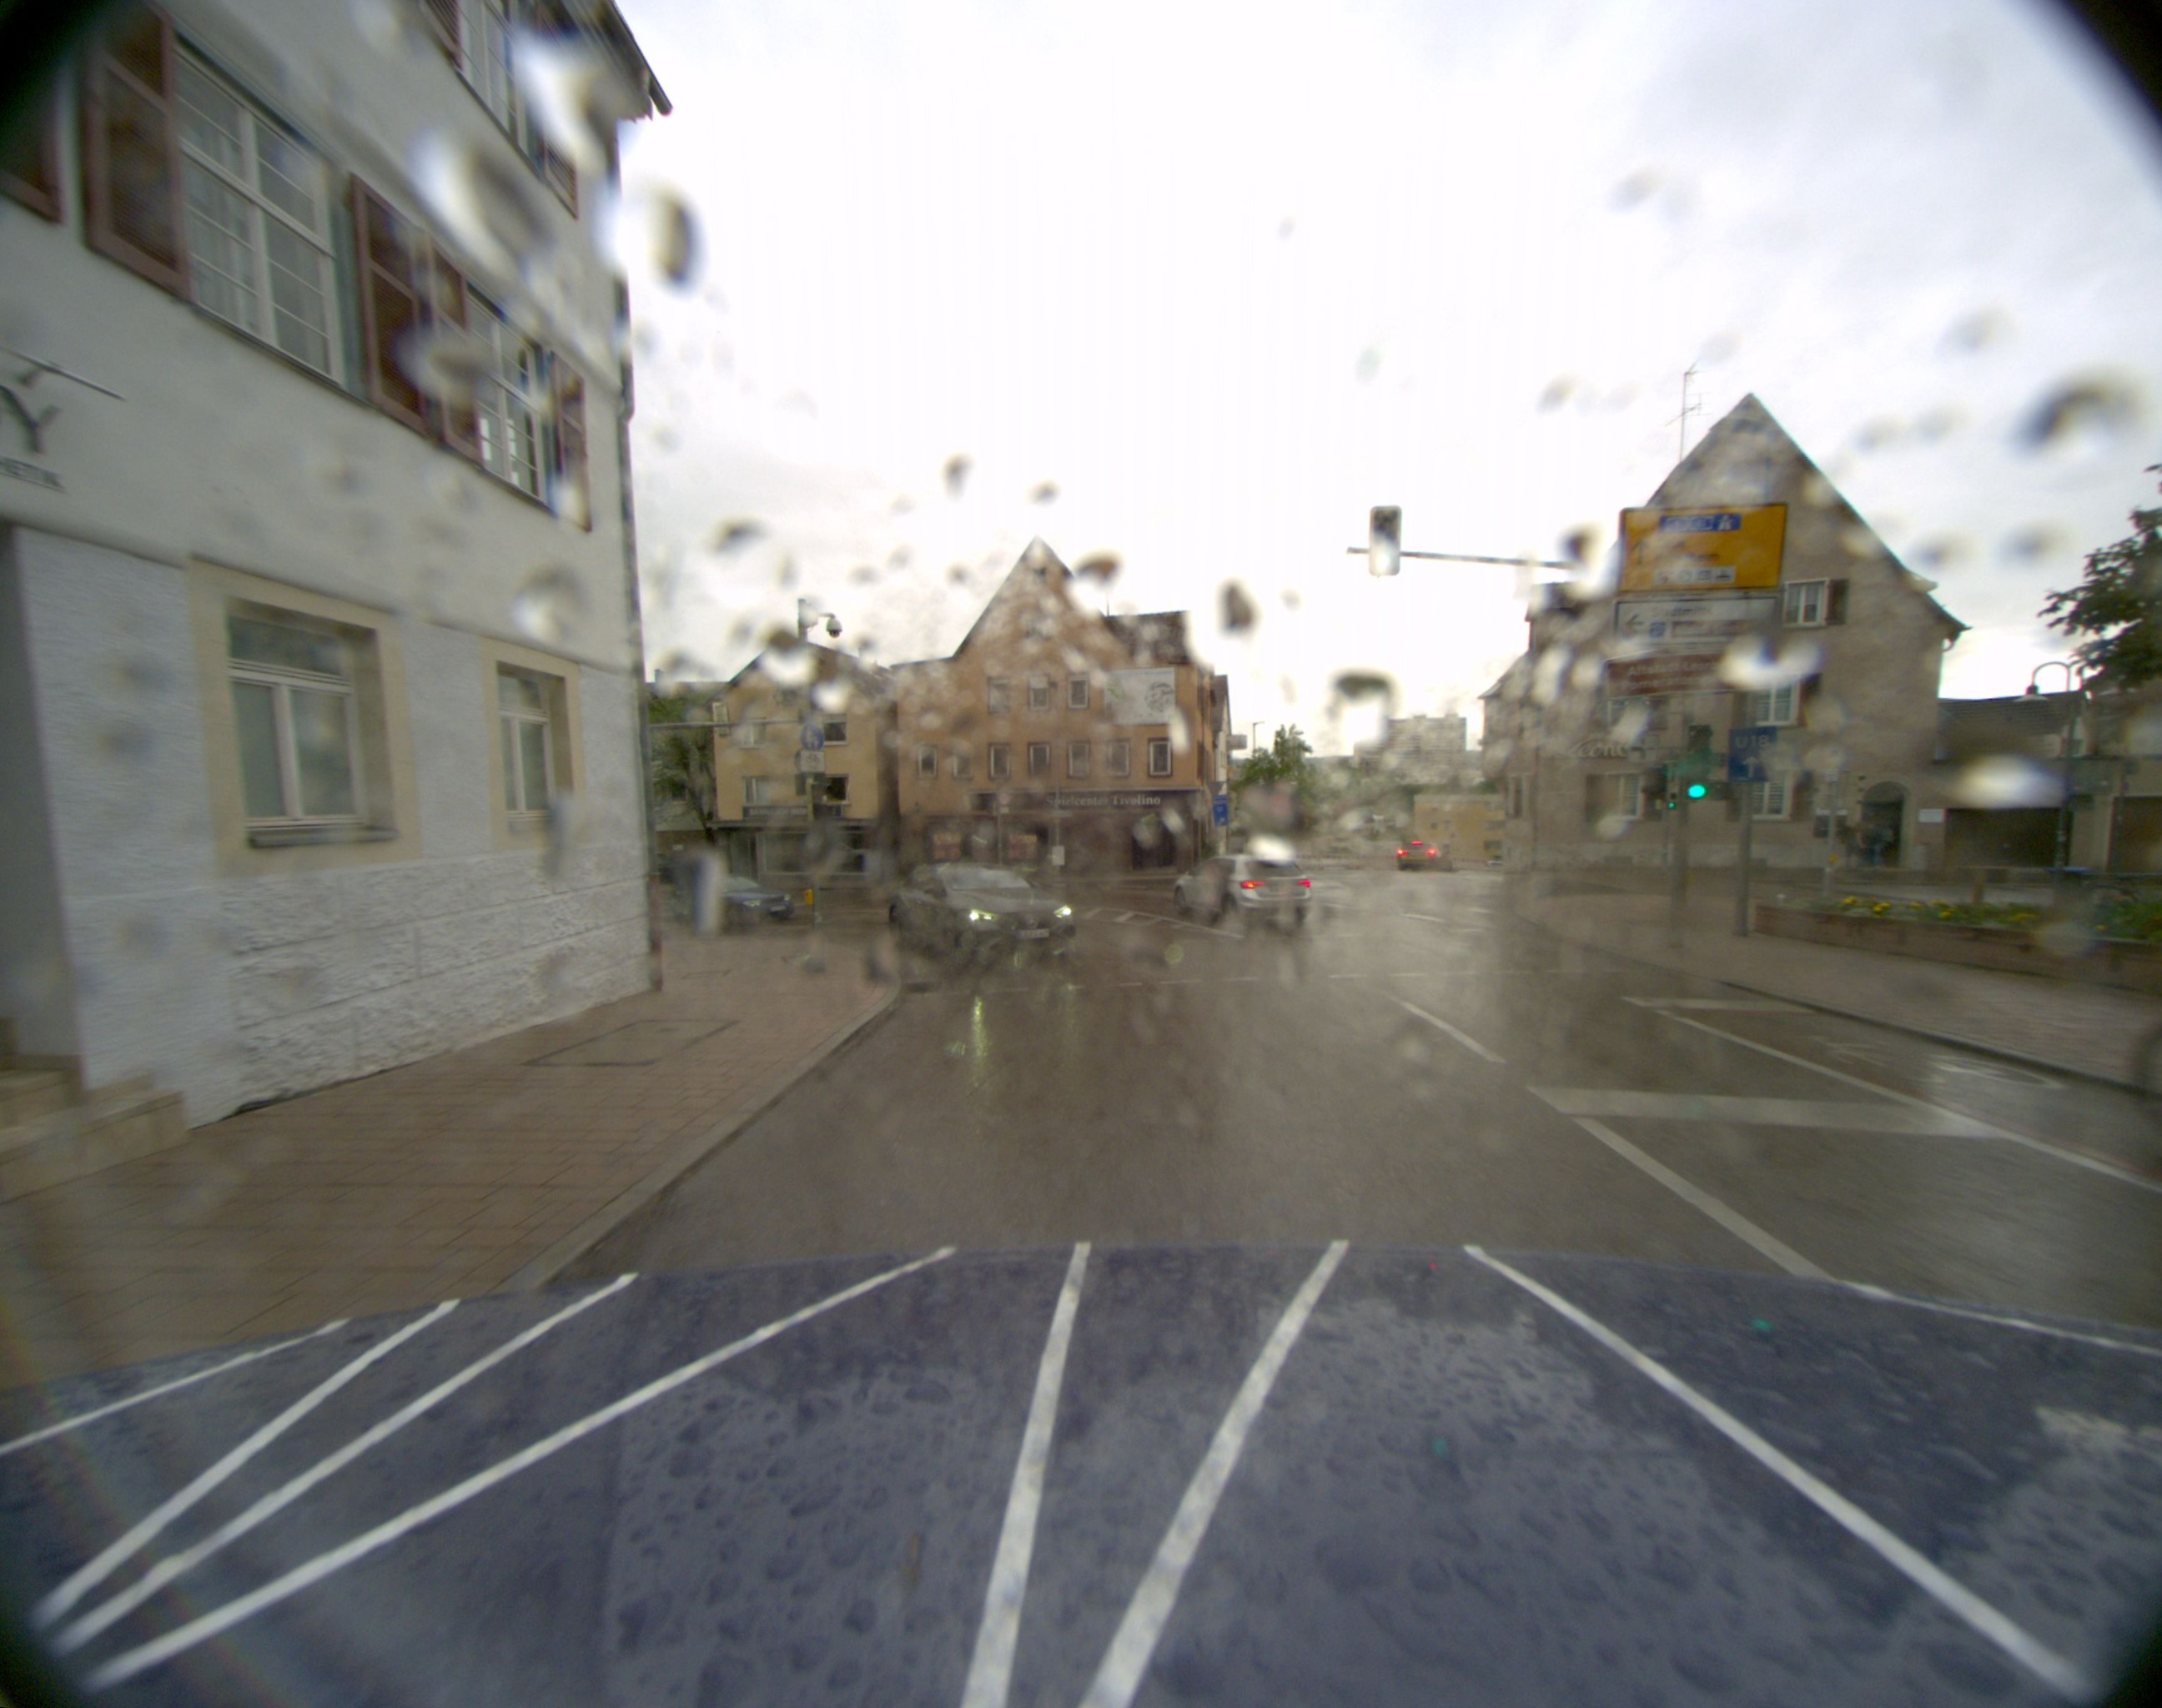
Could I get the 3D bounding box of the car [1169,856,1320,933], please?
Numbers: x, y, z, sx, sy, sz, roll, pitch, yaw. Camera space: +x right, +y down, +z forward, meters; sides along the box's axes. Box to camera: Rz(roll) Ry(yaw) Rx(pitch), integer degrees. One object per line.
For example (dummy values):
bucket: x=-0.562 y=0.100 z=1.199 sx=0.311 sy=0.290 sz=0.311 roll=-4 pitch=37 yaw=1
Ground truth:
car: x=3.468 y=0.797 z=16.872 sx=1.668 sy=1.419 sz=3.865 roll=-2 pitch=1 yaw=-15

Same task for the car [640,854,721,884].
car: x=-22.045 y=0.791 z=42.015 sx=1.897 sy=1.445 sz=4.003 roll=-1 pitch=1 yaw=10

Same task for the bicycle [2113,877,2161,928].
bicycle: x=18.885 y=0.855 z=12.986 sx=0.338 sy=0.814 sz=1.433 roll=-7 pitch=4 yaw=-24

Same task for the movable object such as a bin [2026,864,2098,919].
movable object such as a bin: x=19.407 y=0.741 z=15.051 sx=0.728 sy=0.920 sz=0.785 roll=14 pitch=-6 yaw=-39

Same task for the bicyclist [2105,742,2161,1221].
bicyclist: x=5.055 y=0.539 z=2.842 sx=1.139 sy=2.002 sz=0.880 roll=0 pitch=1 yaw=5

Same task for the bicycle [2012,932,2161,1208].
bicycle: x=5.160 y=1.019 z=2.856 sx=0.749 sy=1.156 sz=2.157 roll=0 pitch=2 yaw=5

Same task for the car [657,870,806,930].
car: x=-10.389 y=1.284 z=22.540 sx=4.365 sy=1.524 sz=1.778 roll=0 pitch=2 yaw=30

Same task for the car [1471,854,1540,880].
car: x=26.138 y=0.757 z=46.781 sx=4.006 sy=1.423 sz=1.995 roll=-2 pitch=1 yaw=-31

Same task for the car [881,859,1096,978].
car: x=-1.761 y=0.923 z=12.924 sx=2.002 sy=1.485 sz=4.303 roll=-6 pitch=2 yaw=-30

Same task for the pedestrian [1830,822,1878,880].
pedestrian: x=25.205 y=-0.097 z=24.775 sx=0.714 sy=1.820 sz=0.798 roll=-2 pitch=1 yaw=-1

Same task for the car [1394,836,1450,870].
car: x=16.615 y=-0.060 z=36.899 sx=1.995 sy=1.530 sz=4.421 roll=-1 pitch=1 yaw=31
